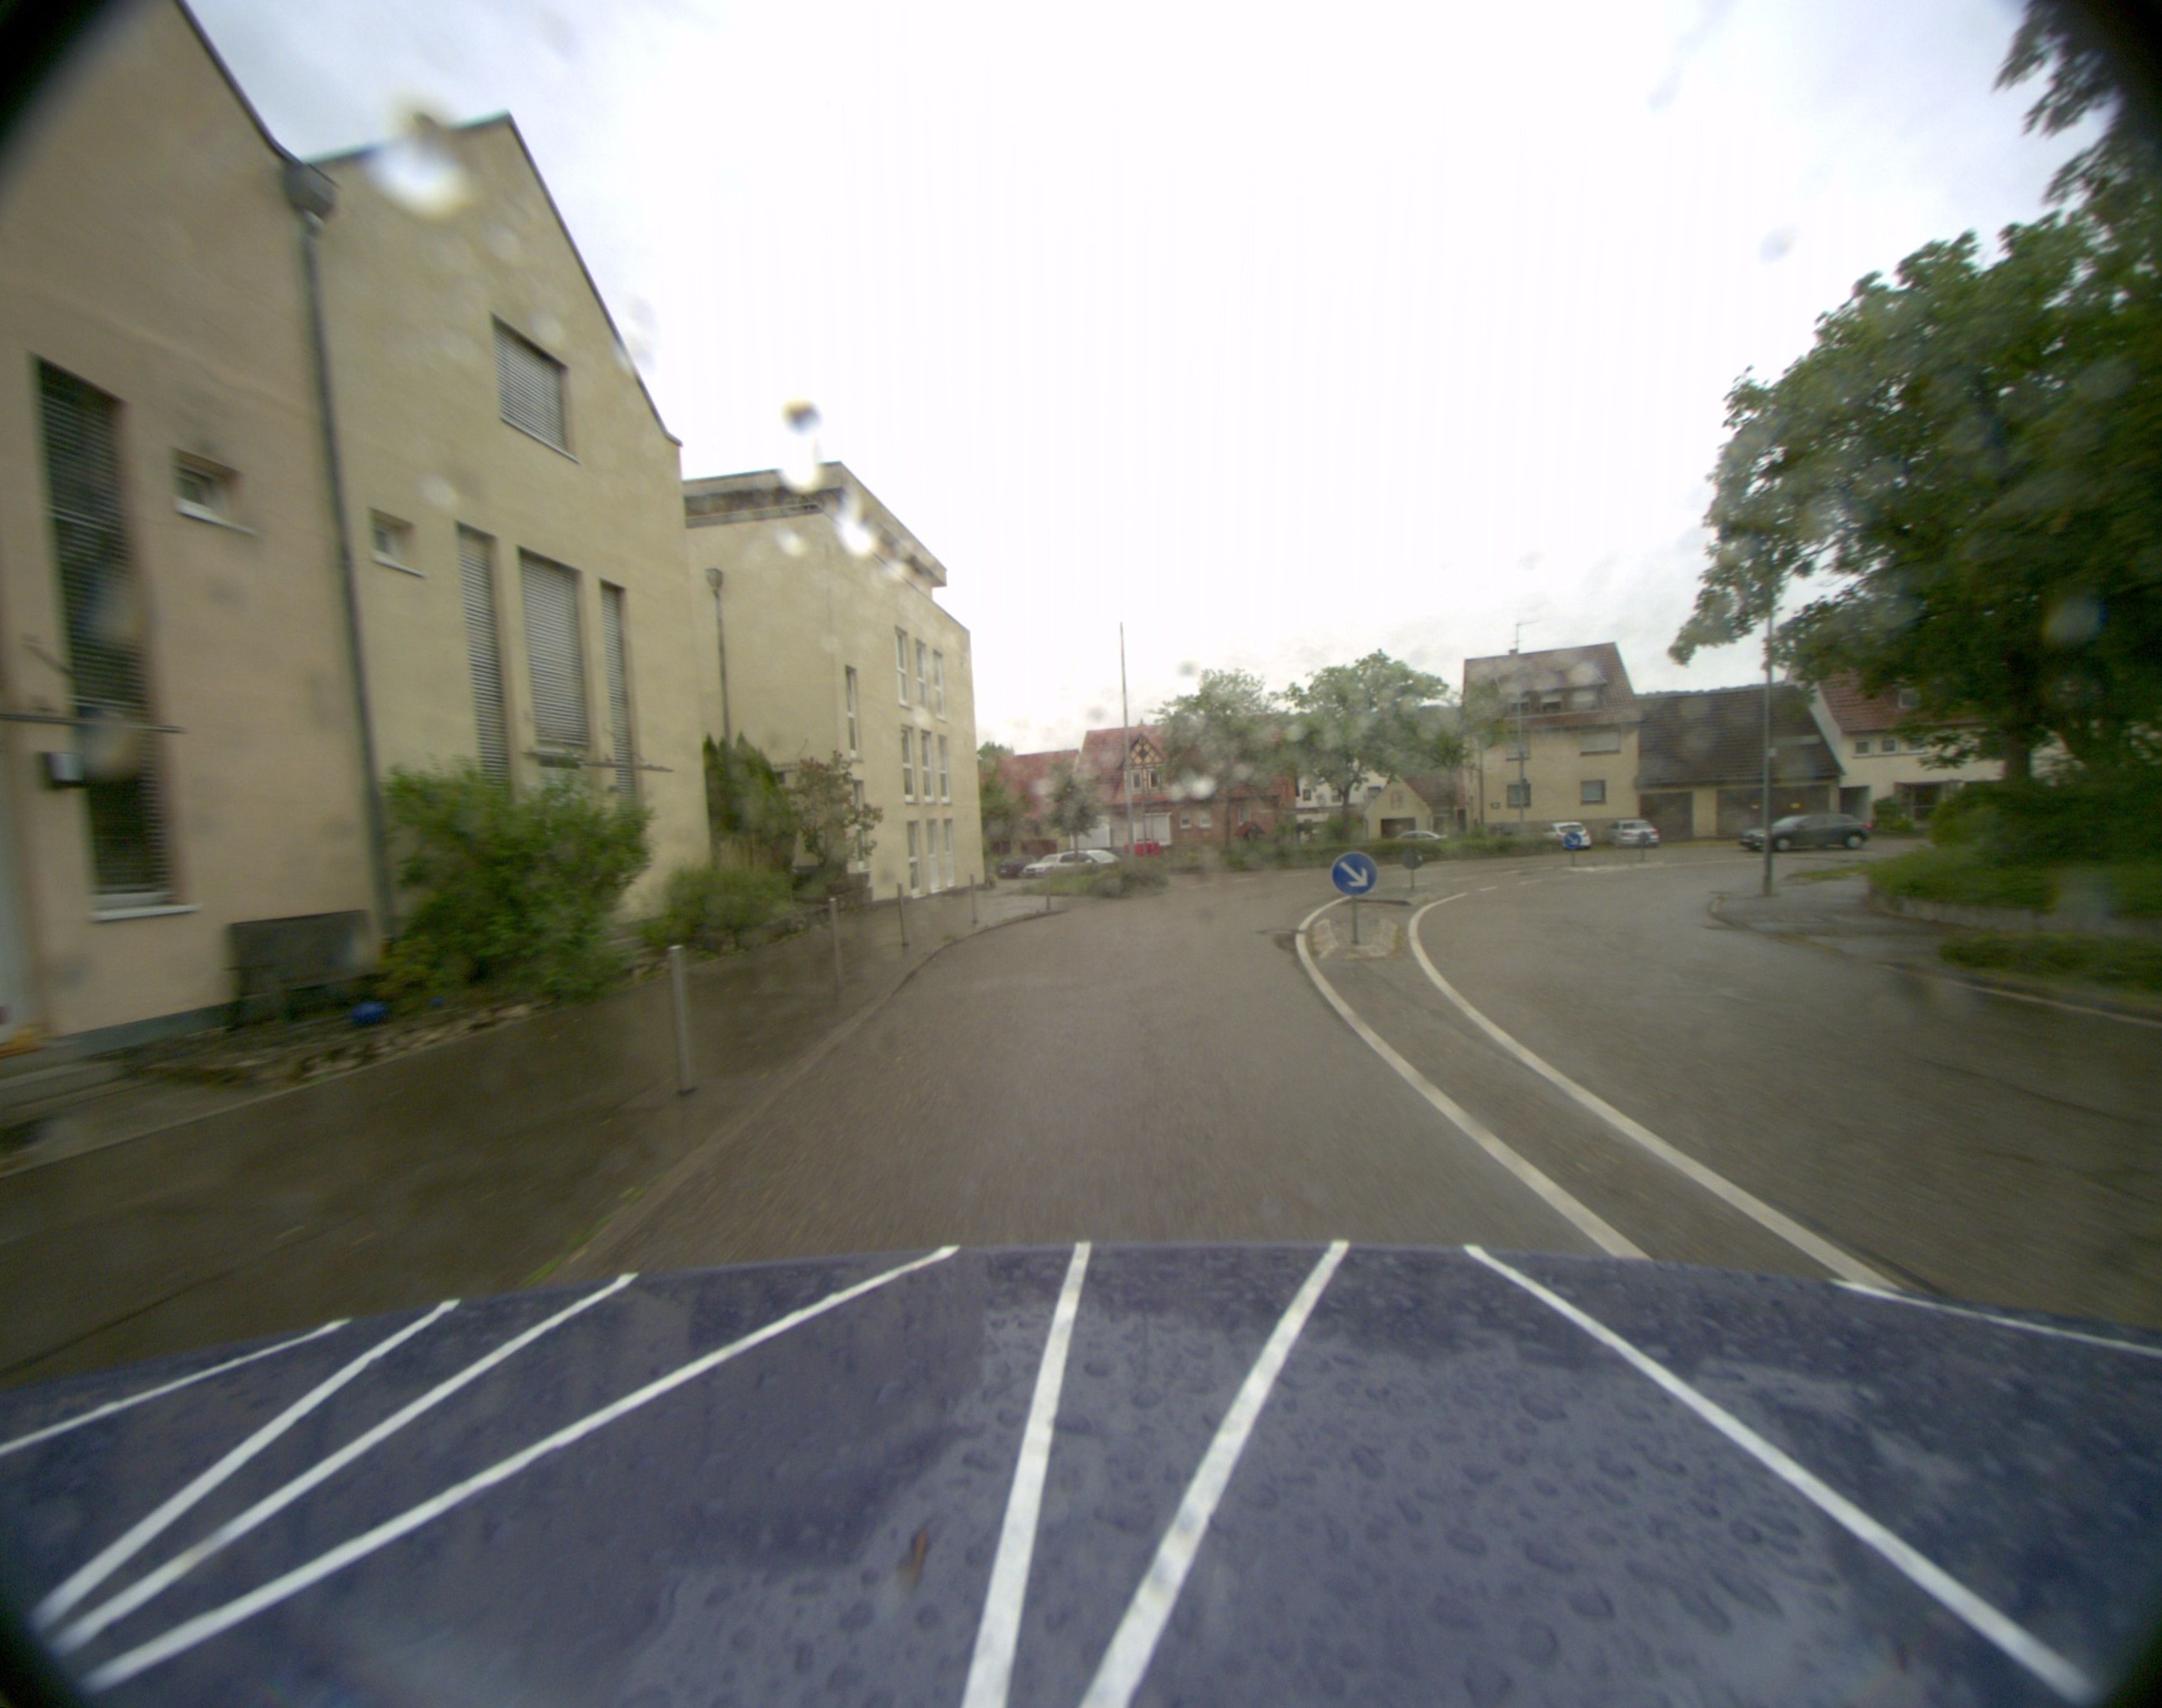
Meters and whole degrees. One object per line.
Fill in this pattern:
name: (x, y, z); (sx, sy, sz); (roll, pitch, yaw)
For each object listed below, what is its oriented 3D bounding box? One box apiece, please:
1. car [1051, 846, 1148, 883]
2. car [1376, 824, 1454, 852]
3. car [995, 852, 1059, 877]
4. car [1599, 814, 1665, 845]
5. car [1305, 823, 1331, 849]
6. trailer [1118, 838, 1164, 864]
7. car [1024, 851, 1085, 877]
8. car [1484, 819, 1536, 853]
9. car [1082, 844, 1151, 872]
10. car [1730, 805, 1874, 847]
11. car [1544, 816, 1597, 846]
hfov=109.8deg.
car: (0.788, 0.488, 34.444); (4.138, 1.527, 1.760); (-2, 2, 40)
car: (20.448, -1.006, 46.649); (4.255, 1.431, 1.910); (-2, 4, 24)
car: (-3.476, 0.662, 49.324); (1.875, 1.368, 4.007); (-2, 1, 38)
car: (29.614, -1.352, 41.001); (1.817, 1.407, 4.632); (-2, 3, 22)
car: (19.157, -1.479, 61.531); (1.597, 2.002, 4.002); (-3, 2, 13)
trailer: (4.067, -0.187, 51.477); (2.718, 1.640, 1.414); (-2, 1, 28)
car: (-1.606, 0.609, 47.513); (1.619, 1.382, 4.007); (-2, 2, 36)
car: (24.539, -1.093, 43.569); (1.745, 1.574, 4.002); (-4, 4, 18)
car: (2.130, 0.207, 44.953); (3.739, 1.382, 1.620); (-4, 2, -31)
car: (30.709, -1.211, 32.513); (3.993, 1.522, 2.000); (-2, 5, 14)
car: (27.180, -1.304, 42.312); (1.715, 1.521, 3.435); (-3, 2, 20)
